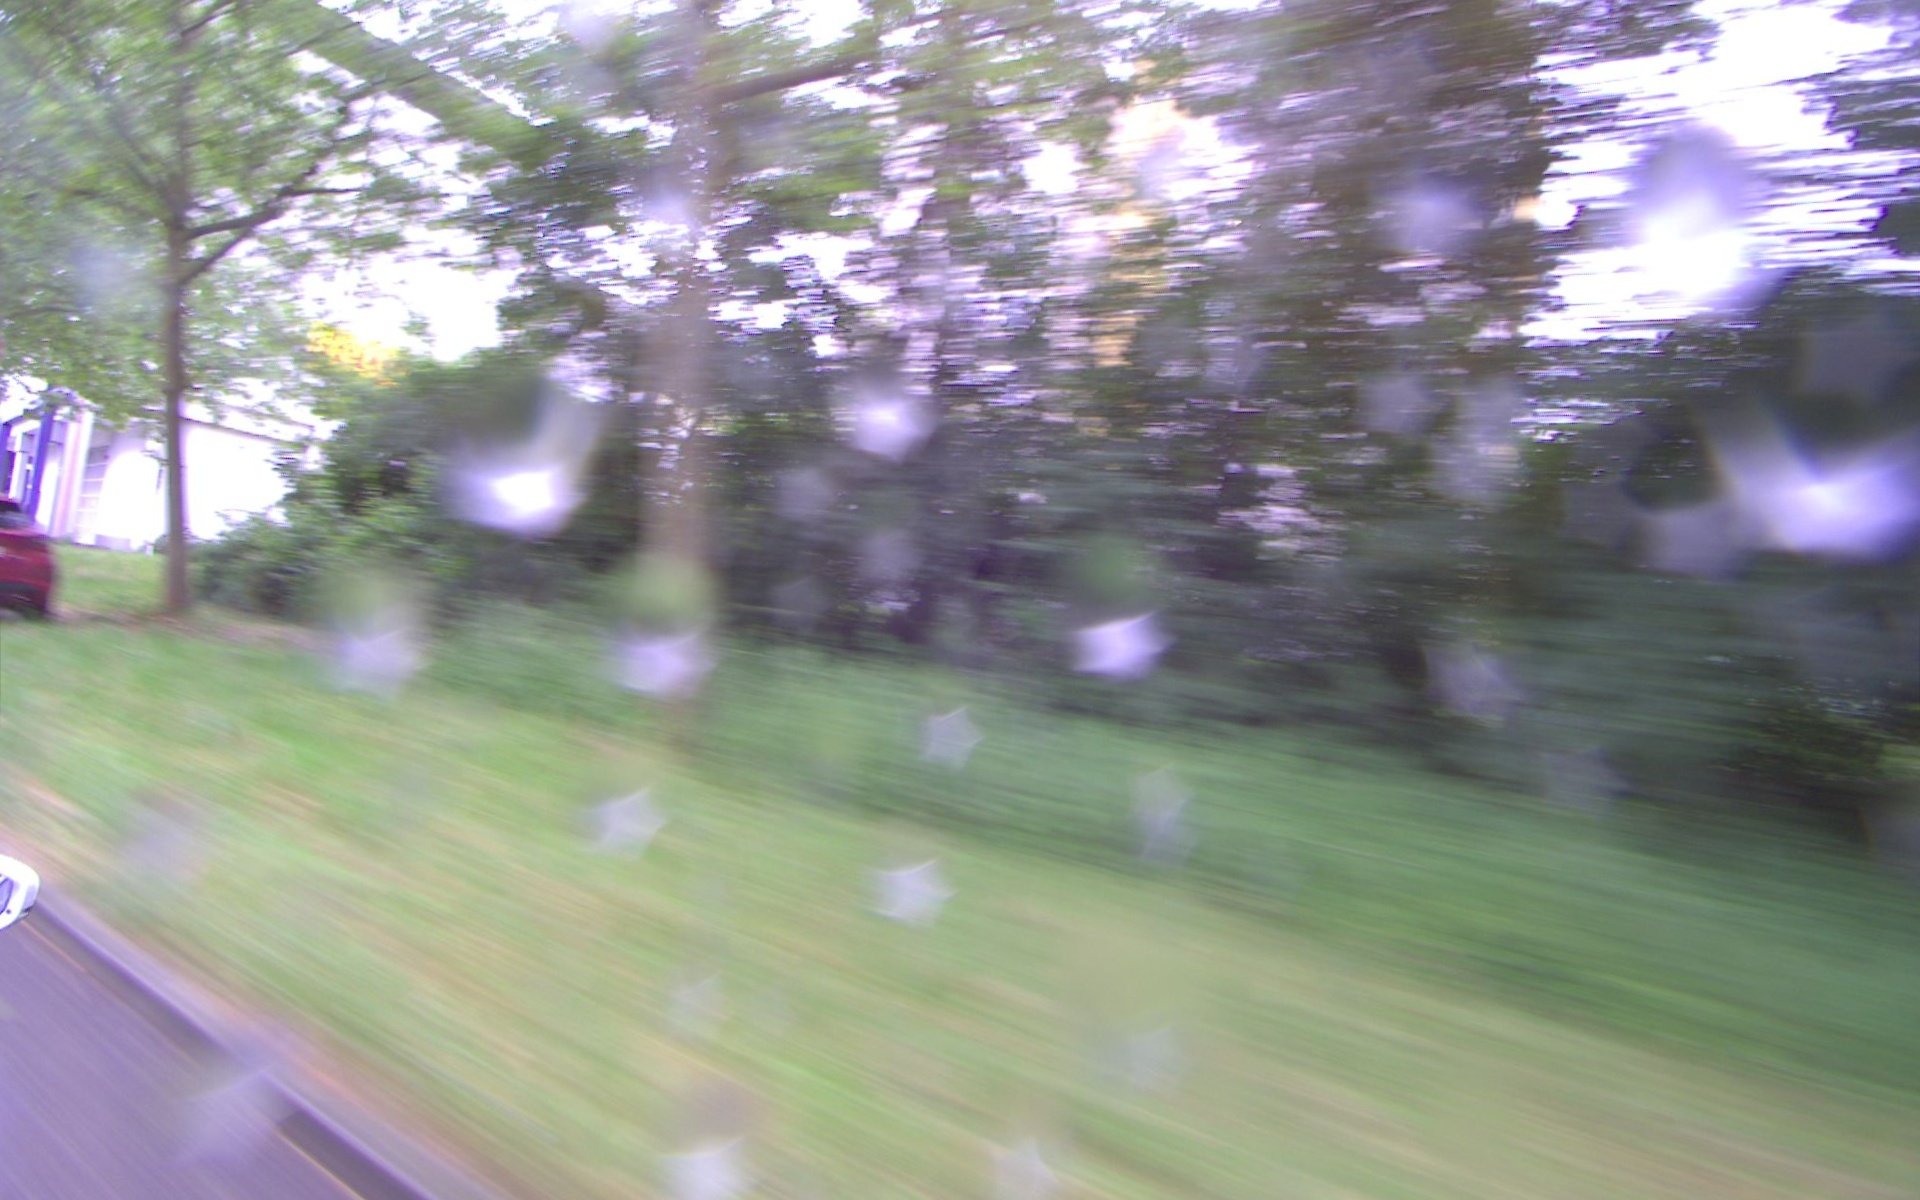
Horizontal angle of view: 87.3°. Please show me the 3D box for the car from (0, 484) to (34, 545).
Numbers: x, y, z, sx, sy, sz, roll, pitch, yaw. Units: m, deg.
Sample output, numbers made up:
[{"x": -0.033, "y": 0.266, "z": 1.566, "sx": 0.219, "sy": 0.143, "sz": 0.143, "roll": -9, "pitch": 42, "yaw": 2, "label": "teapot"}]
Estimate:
[{"x": -30.571, "y": -2.893, "z": 29.613, "sx": 1.740, "sy": 1.699, "sz": 4.476, "roll": 8, "pitch": -2, "yaw": 35, "label": "car"}]

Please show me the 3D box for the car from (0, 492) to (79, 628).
[{"x": -11.766, "y": -0.635, "z": 11.344, "sx": 3.684, "sy": 1.388, "sz": 1.799, "roll": 7, "pitch": -1, "yaw": 34, "label": "car"}]
